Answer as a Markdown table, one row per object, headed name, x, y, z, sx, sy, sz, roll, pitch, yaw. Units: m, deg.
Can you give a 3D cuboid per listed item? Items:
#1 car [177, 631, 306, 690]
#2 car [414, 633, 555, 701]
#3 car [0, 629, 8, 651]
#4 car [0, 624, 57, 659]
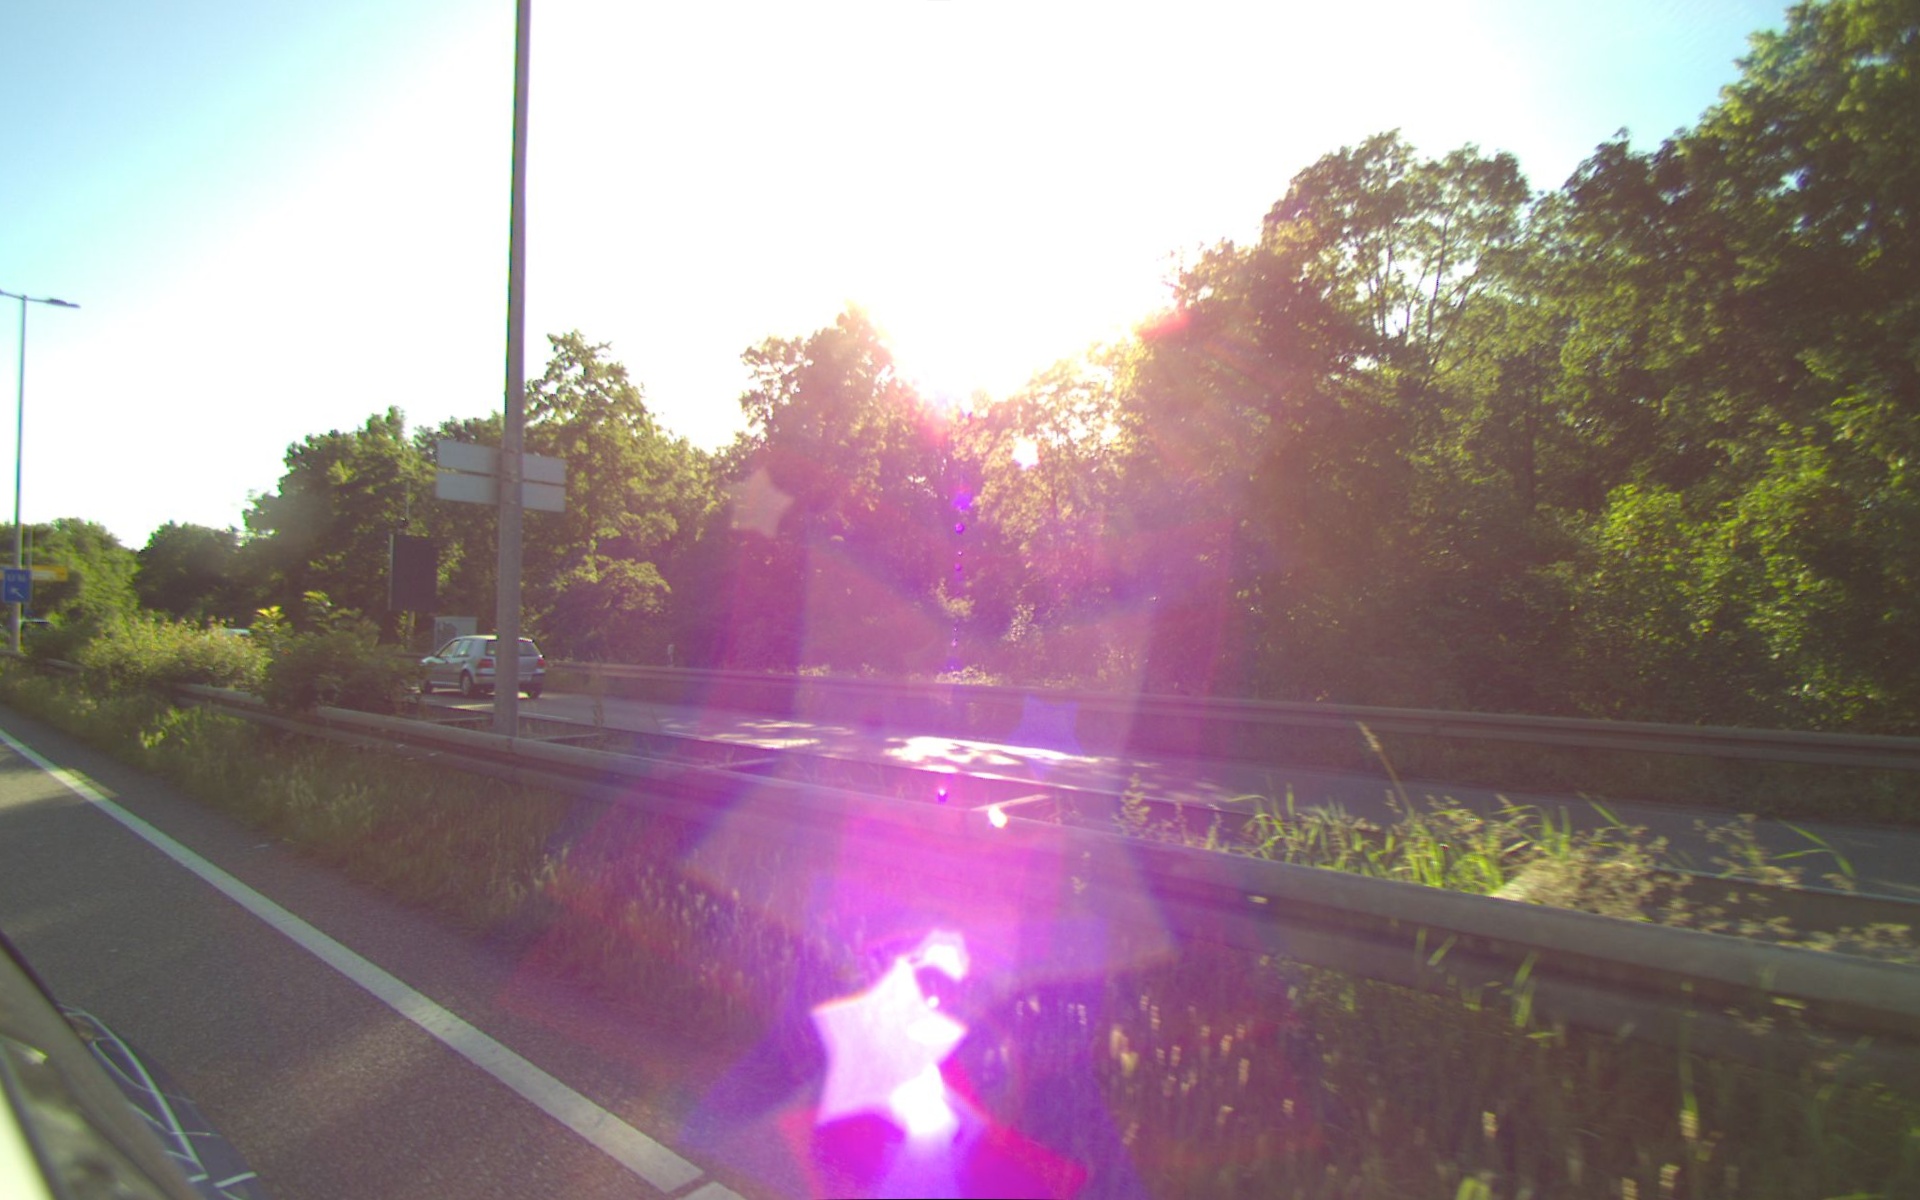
| name | x | y | z | sx | sy | sz | roll | pitch | yaw |
| --- | --- | --- | --- | --- | --- | --- | --- | --- | --- |
| car | -19.473 | 1.585 | 27.364 | 4.428 | 1.461 | 1.733 | -1 | -3 | 40 |
| car | -11.245 | 1.548 | 23.846 | 3.715 | 1.461 | 1.732 | -2 | -5 | 44 |
| car | -69.694 | 2.833 | 72.663 | 4.609 | 1.542 | 1.600 | -1 | -3 | 43 |
| car | -49.496 | 2.167 | 53.694 | 4.710 | 1.771 | 1.822 | -1 | -3 | 42 |
